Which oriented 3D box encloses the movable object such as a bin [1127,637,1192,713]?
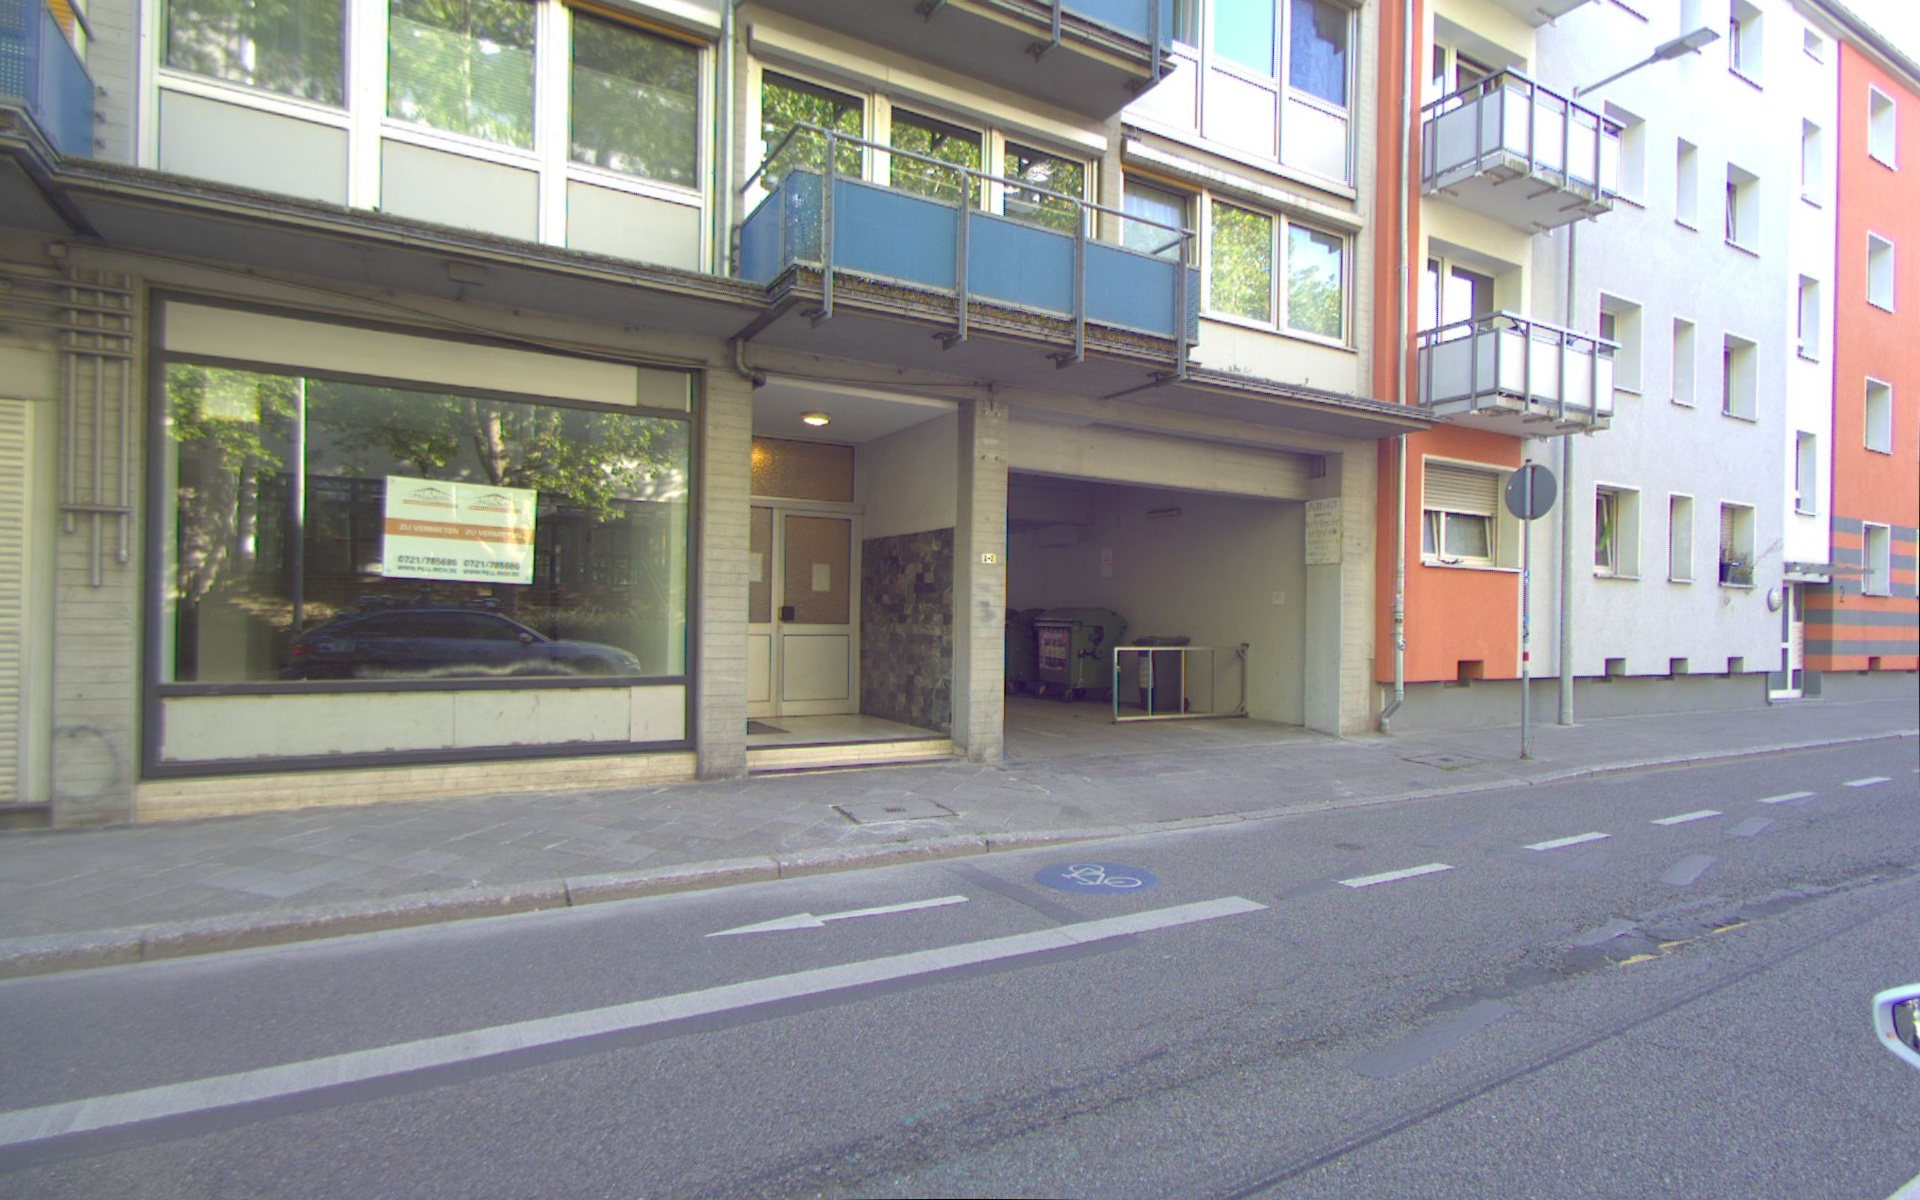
[{"bbox_3d":[2.883,1.072,14.525,0.695,1.055,0.593,2,0,-30],"label":"movable object such as a bin"}]

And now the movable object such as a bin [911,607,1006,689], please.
[{"bbox_3d":[-0.047,0.862,18.869,1.119,1.449,1.666,1,0,-28],"label":"movable object such as a bin"}]

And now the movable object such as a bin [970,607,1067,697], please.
[{"bbox_3d":[0.981,0.864,17.166,1.119,1.449,1.322,1,0,-28],"label":"movable object such as a bin"}]

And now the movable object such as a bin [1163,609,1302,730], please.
[{"bbox_3d":[3.473,0.848,12.895,1.119,1.449,1.322,1,0,-28],"label":"movable object such as a bin"}]

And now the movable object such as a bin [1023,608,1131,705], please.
[{"bbox_3d":[1.833,0.859,15.843,1.128,1.449,1.342,1,0,-28],"label":"movable object such as a bin"}]
